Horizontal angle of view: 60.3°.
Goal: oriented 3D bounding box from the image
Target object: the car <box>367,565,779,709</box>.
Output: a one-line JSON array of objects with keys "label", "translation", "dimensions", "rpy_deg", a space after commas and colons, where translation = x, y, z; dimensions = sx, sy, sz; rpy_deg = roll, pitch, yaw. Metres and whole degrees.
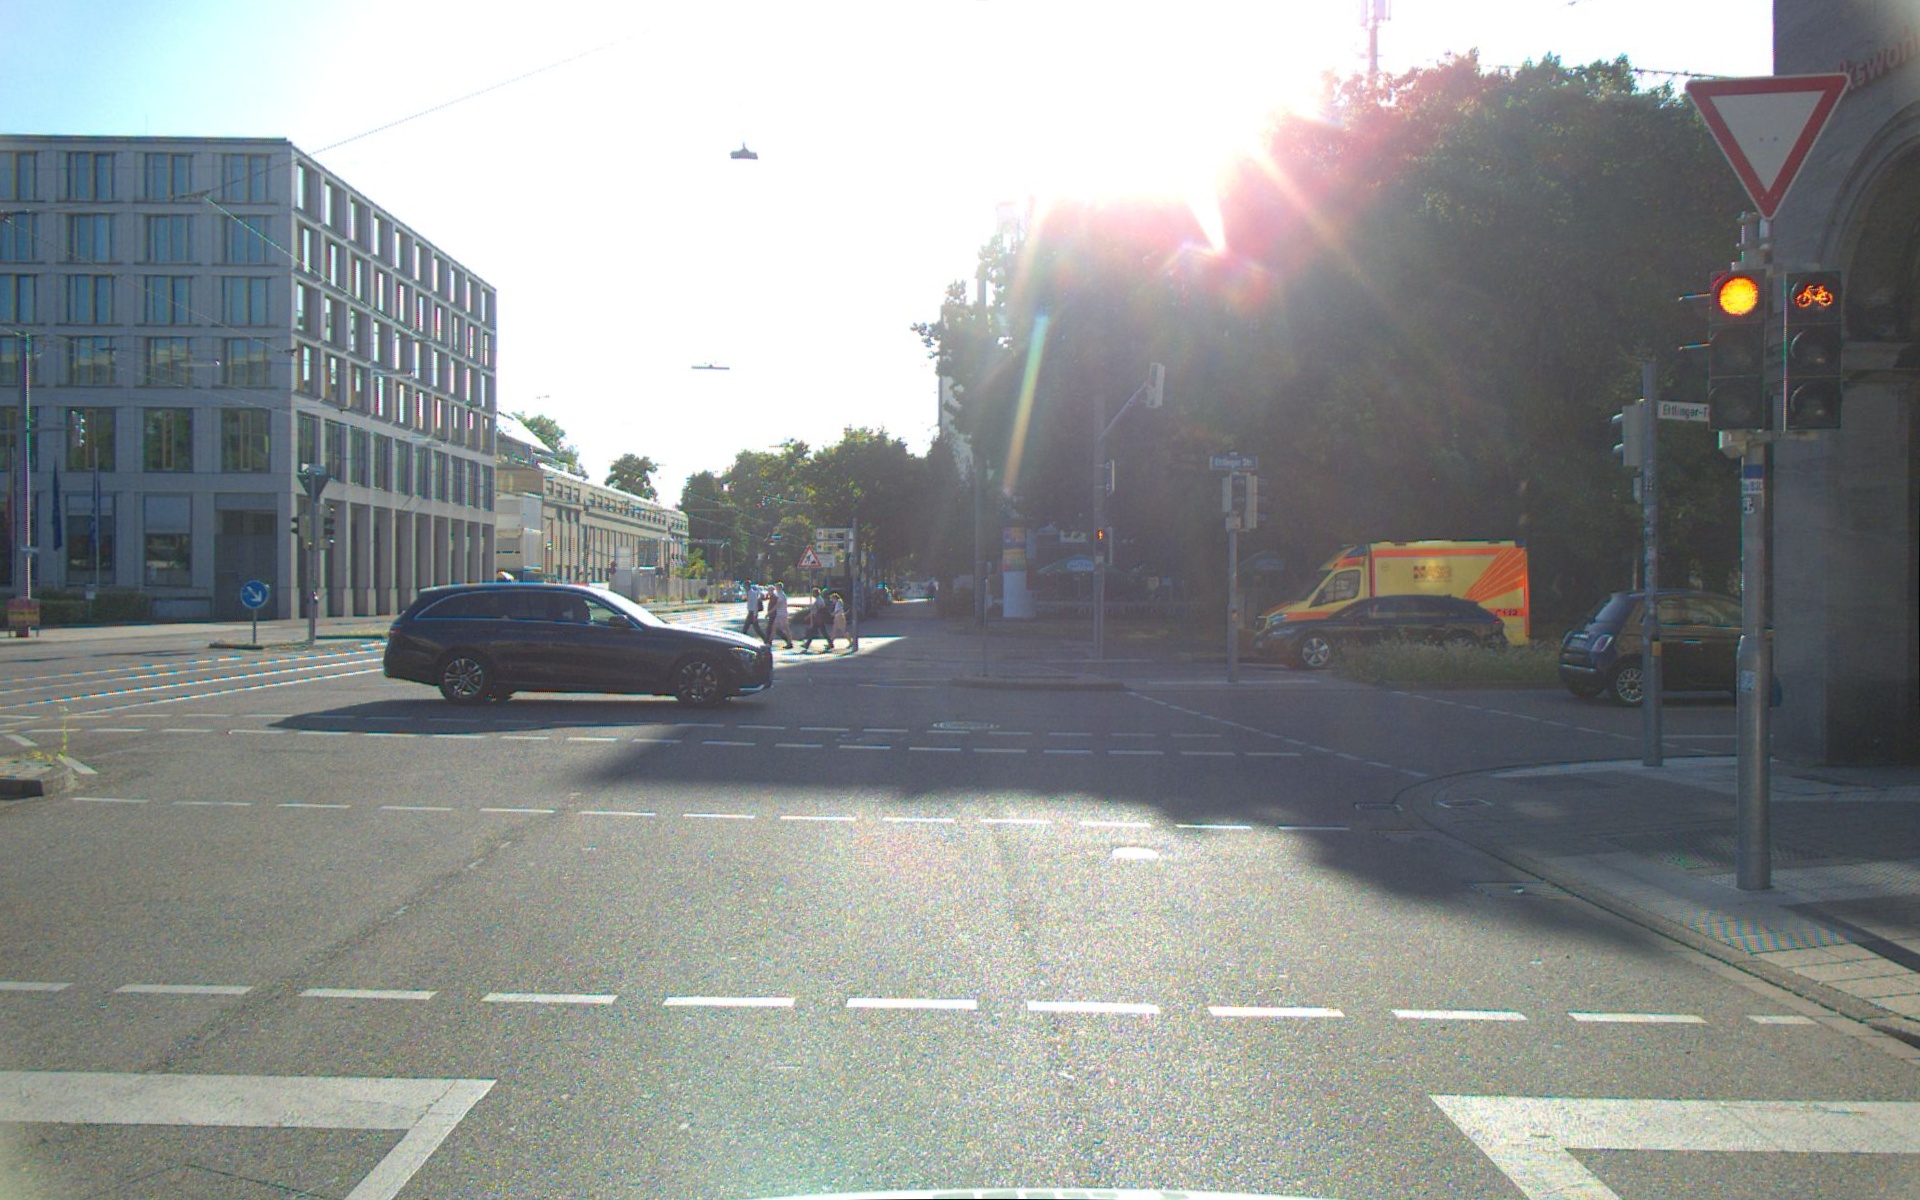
[{"label": "car", "translation": [-4.833, 0.434, 21.170], "dimensions": [4.799, 1.685, 1.934], "rpy_deg": [1, 1, -1]}]

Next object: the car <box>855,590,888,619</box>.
[{"label": "car", "translation": [-4.924, 0.278, 91.928], "dimensions": [1.650, 1.527, 3.508], "rpy_deg": [2, -1, -1]}]

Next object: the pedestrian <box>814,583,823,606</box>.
[{"label": "pedestrian", "translation": [-9.116, -0.347, 106.452], "dimensions": [0.513, 1.510, 0.437], "rpy_deg": [2, -1, -2]}]

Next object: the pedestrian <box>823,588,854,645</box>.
[{"label": "pedestrian", "translation": [-3.386, 0.455, 46.047], "dimensions": [0.750, 1.586, 0.585], "rpy_deg": [0, 0, -17]}]

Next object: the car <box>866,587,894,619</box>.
[{"label": "car", "translation": [-5.194, 0.228, 107.537], "dimensions": [1.650, 1.996, 3.508], "rpy_deg": [2, -1, -1]}]

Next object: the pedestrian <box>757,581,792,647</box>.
[{"label": "pedestrian", "translation": [-5.218, 0.383, 46.535], "dimensions": [0.834, 1.815, 0.776], "rpy_deg": [0, 0, -17]}]

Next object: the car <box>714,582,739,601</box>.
[{"label": "car", "translation": [-21.958, -0.786, 155.637], "dimensions": [1.782, 1.742, 3.805], "rpy_deg": [0, 0, -1]}]

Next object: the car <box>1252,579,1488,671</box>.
[{"label": "car", "translation": [8.131, 0.498, 33.075], "dimensions": [4.226, 1.676, 1.887], "rpy_deg": [2, -1, -1]}]

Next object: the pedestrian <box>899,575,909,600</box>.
[{"label": "pedestrian", "translation": [-8.331, -1.906, 245.782], "dimensions": [1.373, 3.660, 1.567], "rpy_deg": [2, -1, -1]}]

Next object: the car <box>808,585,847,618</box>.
[{"label": "car", "translation": [-6.521, 0.106, 81.748], "dimensions": [1.650, 1.527, 3.508], "rpy_deg": [2, -1, -1]}]

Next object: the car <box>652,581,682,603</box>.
[{"label": "car", "translation": [-23.538, -0.609, 133.103], "dimensions": [1.782, 1.742, 3.805], "rpy_deg": [0, 0, -1]}]

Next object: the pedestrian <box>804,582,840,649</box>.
[{"label": "pedestrian", "translation": [-3.788, 0.410, 45.293], "dimensions": [0.834, 1.815, 0.776], "rpy_deg": [0, 0, -17]}]

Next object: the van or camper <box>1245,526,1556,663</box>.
[{"label": "van or camper", "translation": [10.218, -0.110, 38.917], "dimensions": [6.568, 2.912, 2.912], "rpy_deg": [2, -1, 3]}]

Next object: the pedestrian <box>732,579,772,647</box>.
[{"label": "pedestrian", "translation": [-5.585, 0.345, 44.427], "dimensions": [0.950, 1.815, 0.776], "rpy_deg": [0, 0, -17]}]

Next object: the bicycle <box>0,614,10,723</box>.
[{"label": "bicycle", "translation": [-10.983, 0.723, 17.111], "dimensions": [1.882, 1.142, 0.790], "rpy_deg": [0, 0, 4]}]

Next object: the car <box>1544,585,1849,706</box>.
[{"label": "car", "translation": [9.882, 0.594, 22.328], "dimensions": [3.460, 1.532, 1.521], "rpy_deg": [1, 0, -3]}]

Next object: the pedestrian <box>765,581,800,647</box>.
[{"label": "pedestrian", "translation": [-4.909, 0.383, 45.798], "dimensions": [0.834, 1.815, 0.776], "rpy_deg": [0, 0, -17]}]

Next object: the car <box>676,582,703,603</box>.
[{"label": "car", "translation": [-23.527, -0.639, 143.921], "dimensions": [1.782, 1.742, 3.805], "rpy_deg": [0, 0, -1]}]

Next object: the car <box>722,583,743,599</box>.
[{"label": "car", "translation": [-21.940, -0.896, 159.539], "dimensions": [1.577, 1.525, 3.805], "rpy_deg": [0, 0, -1]}]
